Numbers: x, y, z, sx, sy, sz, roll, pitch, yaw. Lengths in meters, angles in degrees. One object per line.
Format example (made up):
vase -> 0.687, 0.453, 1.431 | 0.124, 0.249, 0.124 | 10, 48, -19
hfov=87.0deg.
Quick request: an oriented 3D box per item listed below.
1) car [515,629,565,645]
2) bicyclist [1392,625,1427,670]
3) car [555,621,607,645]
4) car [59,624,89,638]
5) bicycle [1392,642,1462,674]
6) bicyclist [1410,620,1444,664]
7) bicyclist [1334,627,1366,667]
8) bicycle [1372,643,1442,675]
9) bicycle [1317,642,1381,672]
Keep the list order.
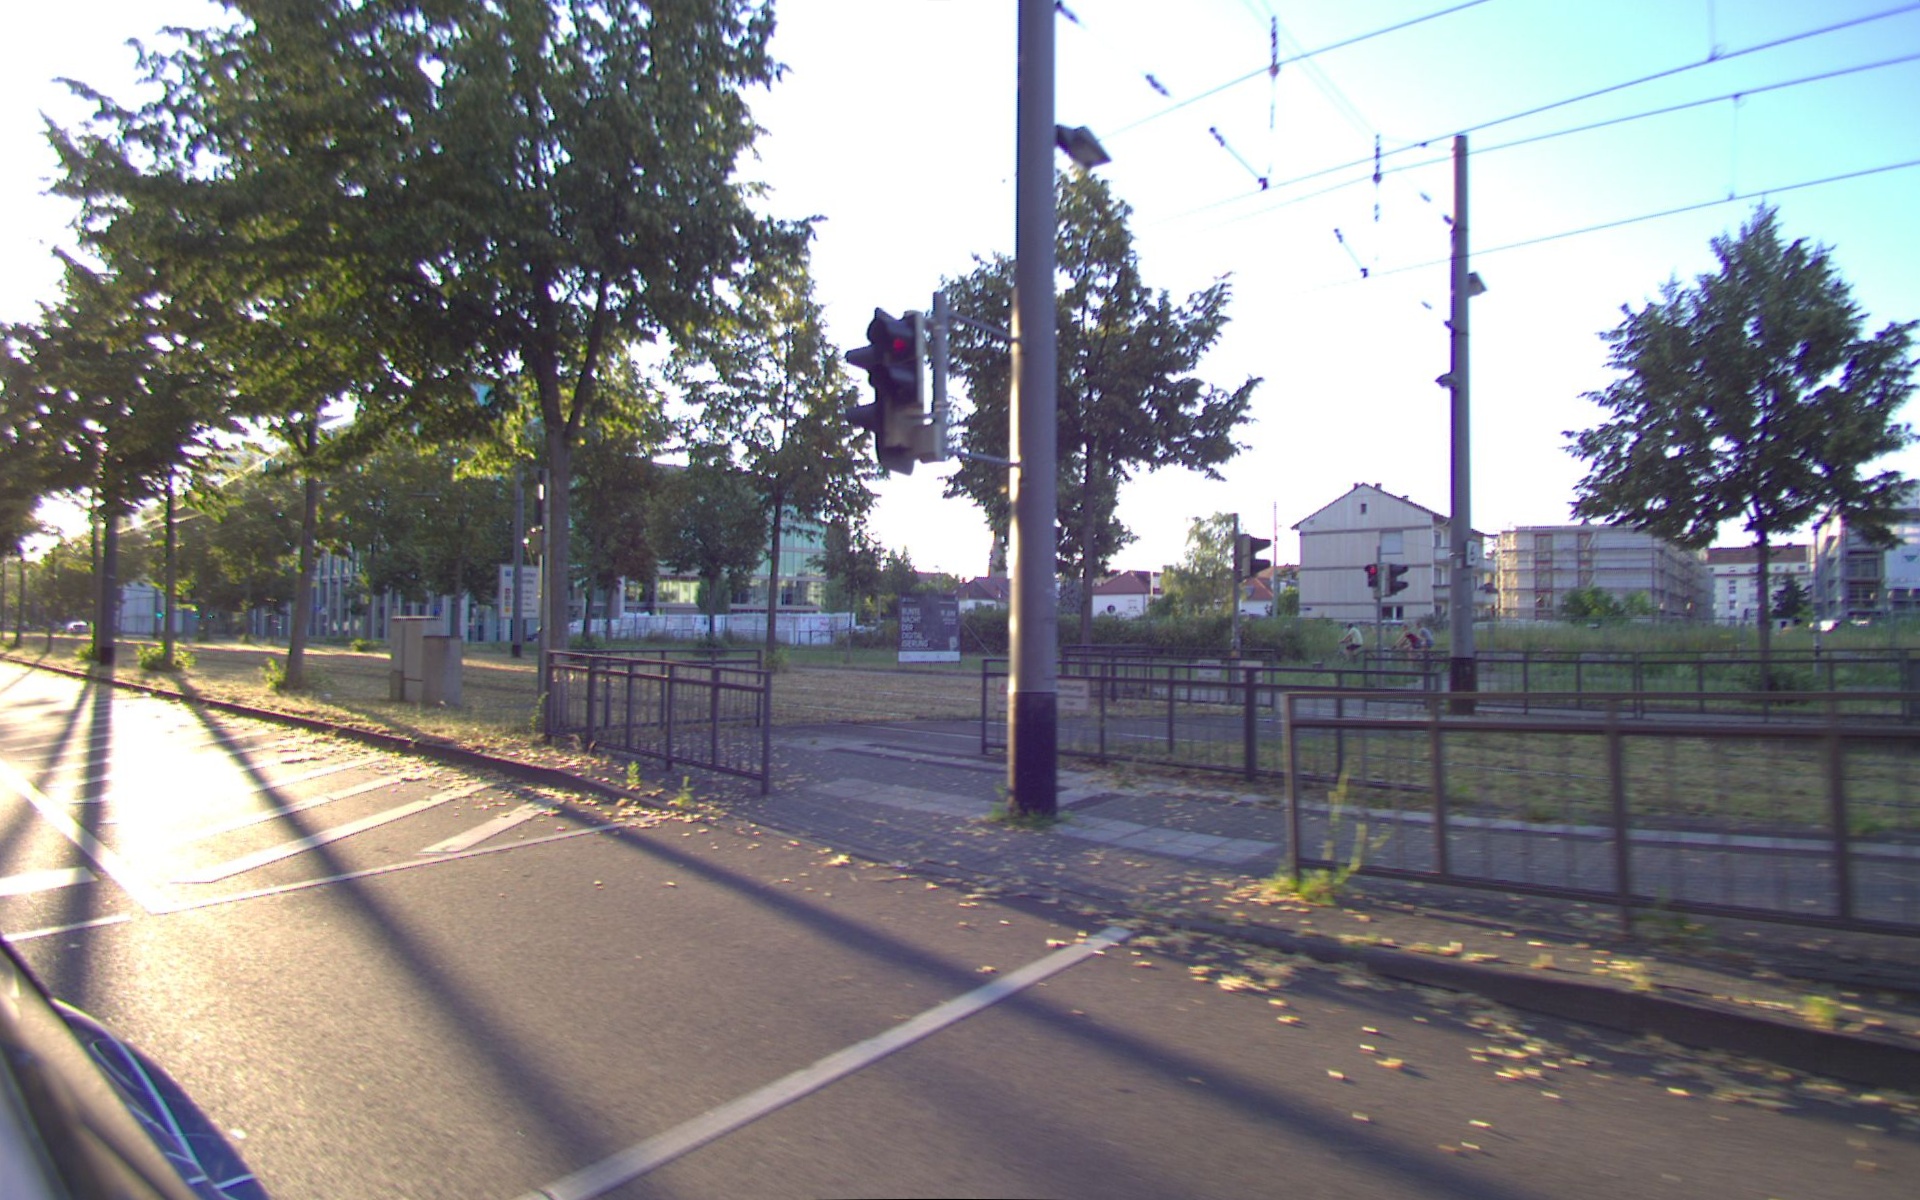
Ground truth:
car -> -39.849, 3.490, 96.095 | 1.895, 1.457, 3.942 | -1, -2, 44
bicyclist -> 14.997, 1.581, 33.743 | 0.936, 1.467, 0.613 | -1, -2, 39
car -> -33.451, 2.901, 89.206 | 5.082, 2.029, 2.183 | -1, -2, 42
car -> -102.124, 3.582, 116.623 | 4.627, 1.497, 1.883 | -1, -2, 40
bicycle -> 15.924, 1.970, 34.540 | 2.081, 1.019, 0.613 | -1, -2, 40
bicyclist -> 15.948, 1.432, 34.554 | 0.936, 1.467, 0.613 | -1, -2, 39
bicyclist -> 14.036, 1.674, 36.432 | 0.936, 1.432, 0.613 | -1, -2, 39
bicycle -> 14.909, 1.959, 33.788 | 2.081, 1.019, 0.613 | -1, -2, 40
bicycle -> 14.004, 2.026, 36.459 | 2.081, 1.019, 0.613 | -1, -2, 40
